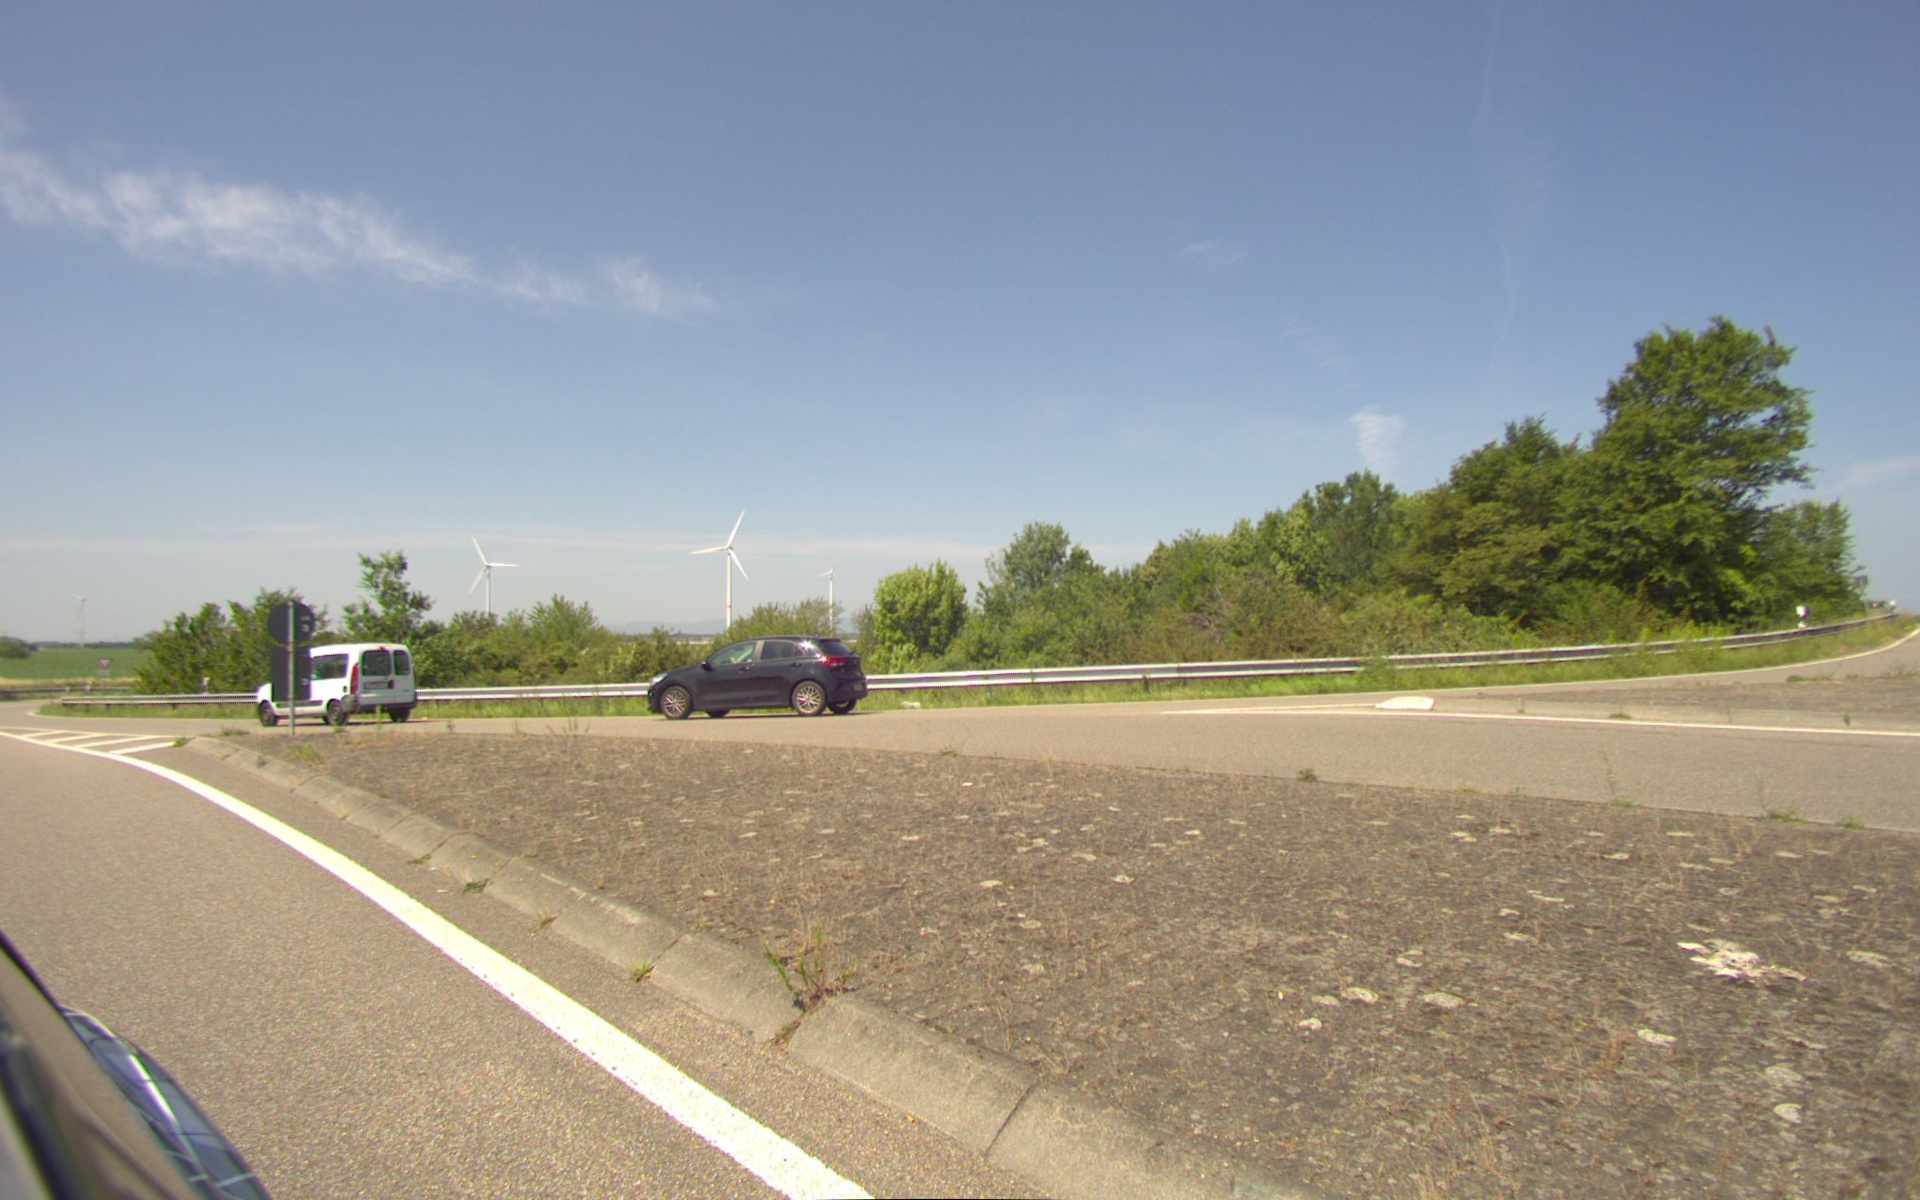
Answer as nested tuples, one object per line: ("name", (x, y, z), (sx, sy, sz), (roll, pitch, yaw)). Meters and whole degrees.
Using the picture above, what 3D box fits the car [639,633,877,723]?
("car", (-3.619, 1.409, 18.297), (3.850, 1.406, 1.706), (-3, -4, 14))

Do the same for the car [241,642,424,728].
("car", (-14.303, 1.940, 23.043), (4.063, 1.775, 1.726), (-4, -4, 27))
